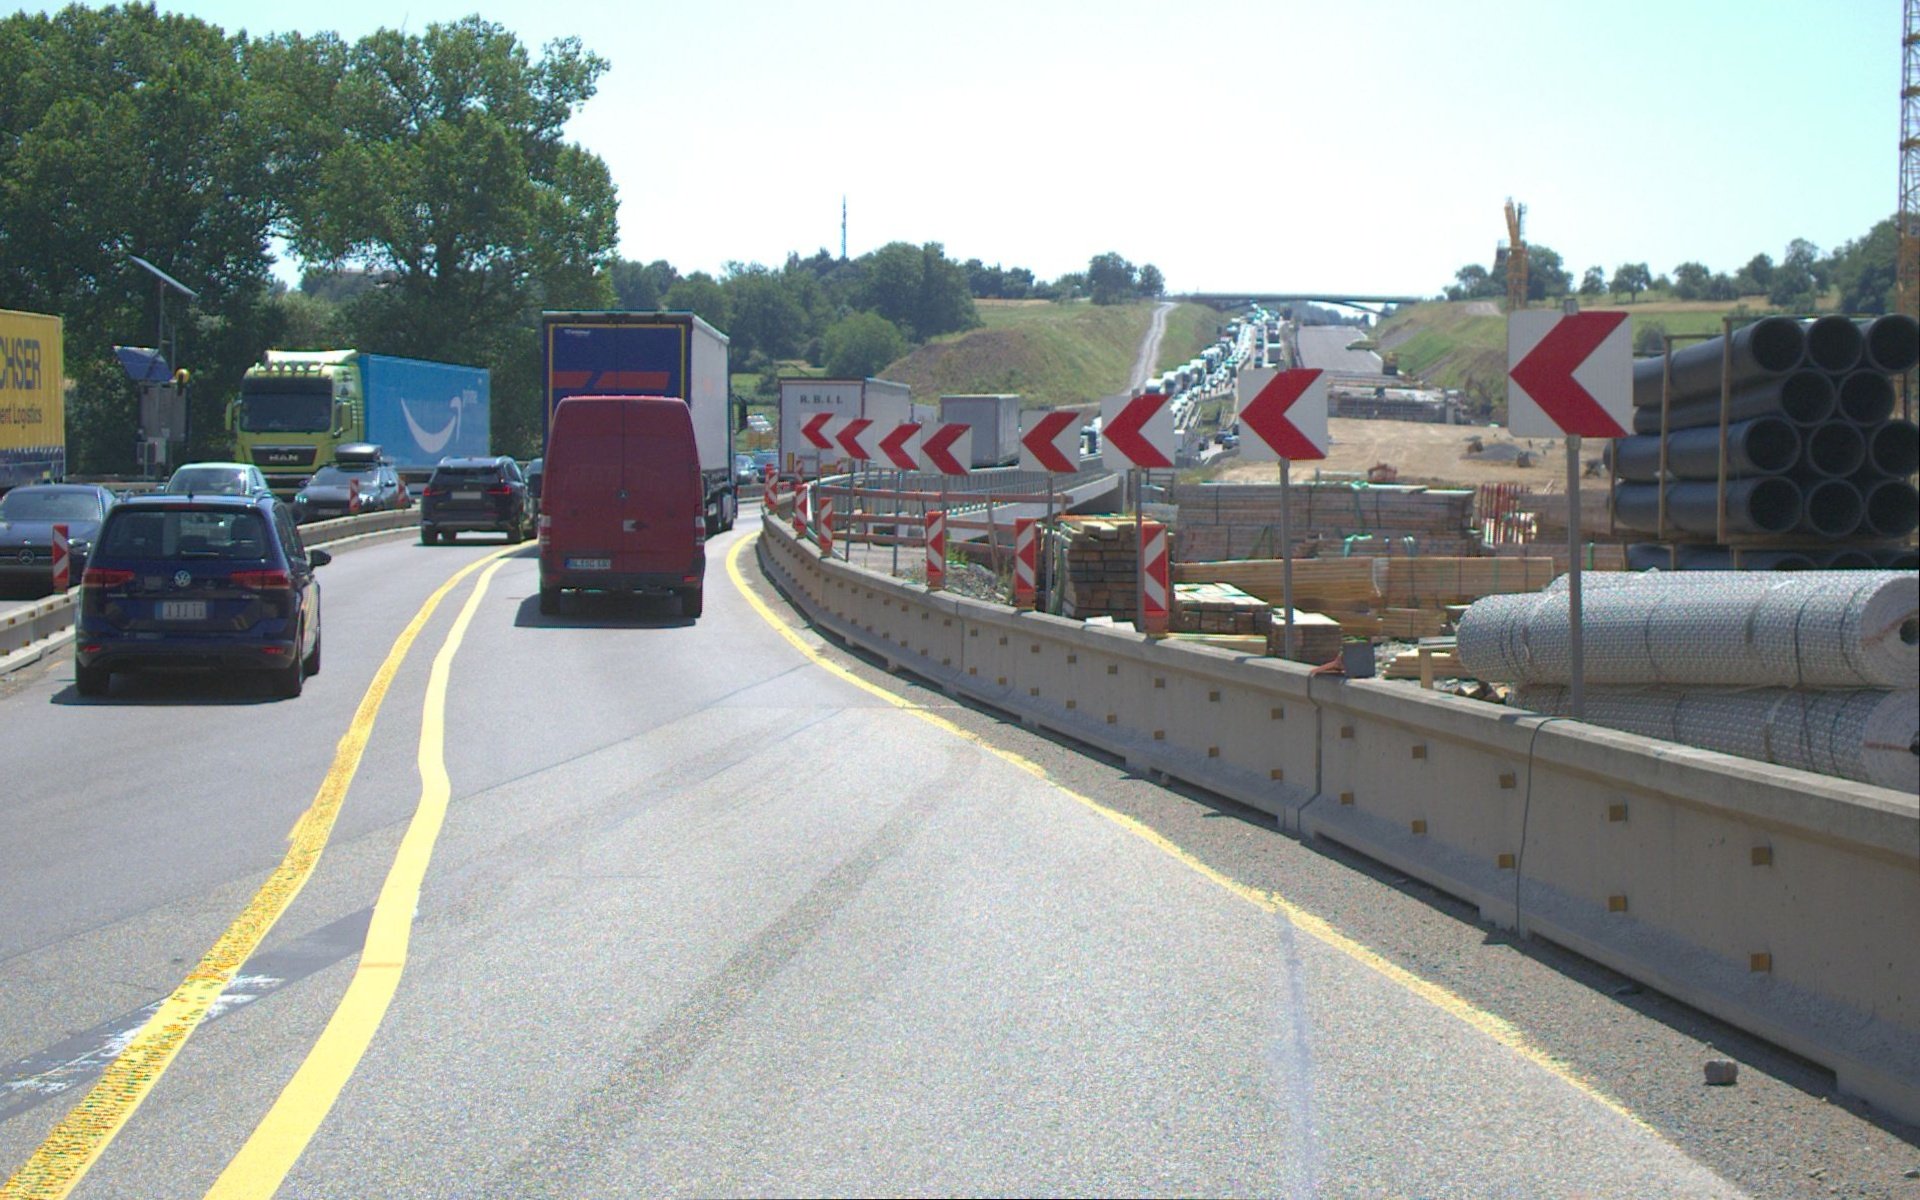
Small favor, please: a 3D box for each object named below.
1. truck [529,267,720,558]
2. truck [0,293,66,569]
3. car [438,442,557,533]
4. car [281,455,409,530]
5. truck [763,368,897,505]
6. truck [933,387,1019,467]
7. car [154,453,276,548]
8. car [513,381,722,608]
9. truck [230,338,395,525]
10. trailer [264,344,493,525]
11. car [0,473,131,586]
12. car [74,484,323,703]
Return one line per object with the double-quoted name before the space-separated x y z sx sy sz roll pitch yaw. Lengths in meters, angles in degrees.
"truck" -5.961 -3.342 62.052 2.944 4.928 6.743 1 2 -2
"truck" -16.307 -2.575 51.122 2.806 4.327 15.378 1 2 -3
"car" -8.659 -2.089 64.690 1.833 1.630 4.390 1 1 -3
"car" -12.746 -2.256 71.535 1.820 1.430 4.584 1 3 0
"truck" -3.887 -4.949 104.298 3.182 3.975 6.741 1 2 5
"truck" 0.791 -7.727 154.439 3.184 2.967 8.897 1 -1 4
"car" -12.929 -1.756 59.841 1.636 1.480 4.002 1 3 -6
"car" -4.317 -1.295 42.574 2.149 2.602 5.440 1 2 -10
"truck" -15.420 -3.989 82.148 2.625 4.255 4.731 2 2 5
"trailer" -14.900 -4.190 89.382 2.648 4.277 13.308 2 2 4
"car" -11.982 -0.961 45.191 1.676 1.357 4.504 1 2 -8
"car" -6.321 -0.119 28.907 1.733 1.629 4.391 1 2 -9
